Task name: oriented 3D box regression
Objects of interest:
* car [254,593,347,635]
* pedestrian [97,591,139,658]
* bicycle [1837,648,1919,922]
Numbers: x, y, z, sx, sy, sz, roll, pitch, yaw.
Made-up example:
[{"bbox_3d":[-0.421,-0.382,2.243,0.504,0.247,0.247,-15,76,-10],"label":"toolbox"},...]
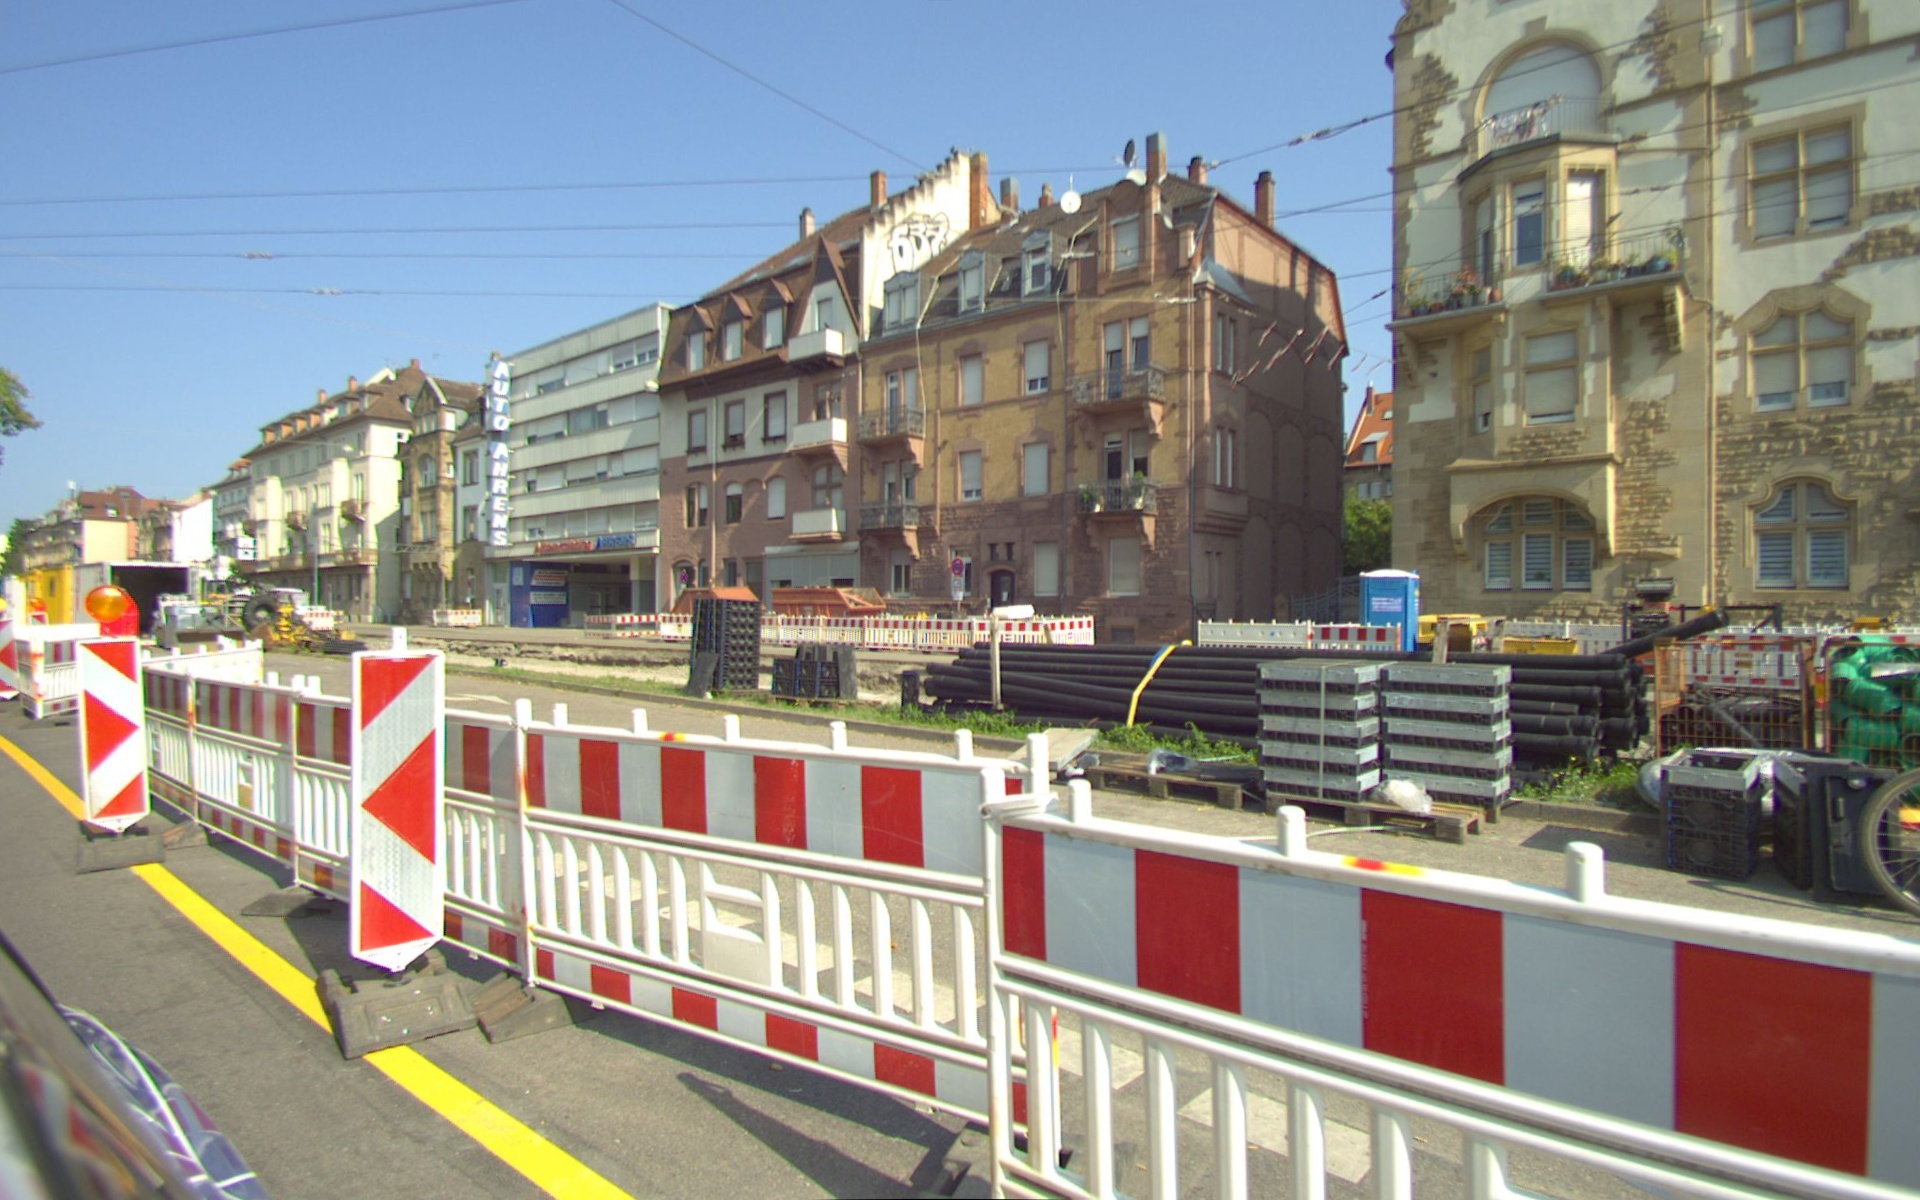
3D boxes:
[{"bbox_3d":[-35.364,0.715,54.184,7.119,2.151,2.336,0,-1,41],"label":"car"},{"bbox_3d":[-23.039,0.677,27.694,0.596,1.811,0.792,0,-2,44],"label":"pedestrian"},{"bbox_3d":[4.838,0.794,4.022,1.961,1.107,0.558,1,1,32],"label":"bicycle"}]
